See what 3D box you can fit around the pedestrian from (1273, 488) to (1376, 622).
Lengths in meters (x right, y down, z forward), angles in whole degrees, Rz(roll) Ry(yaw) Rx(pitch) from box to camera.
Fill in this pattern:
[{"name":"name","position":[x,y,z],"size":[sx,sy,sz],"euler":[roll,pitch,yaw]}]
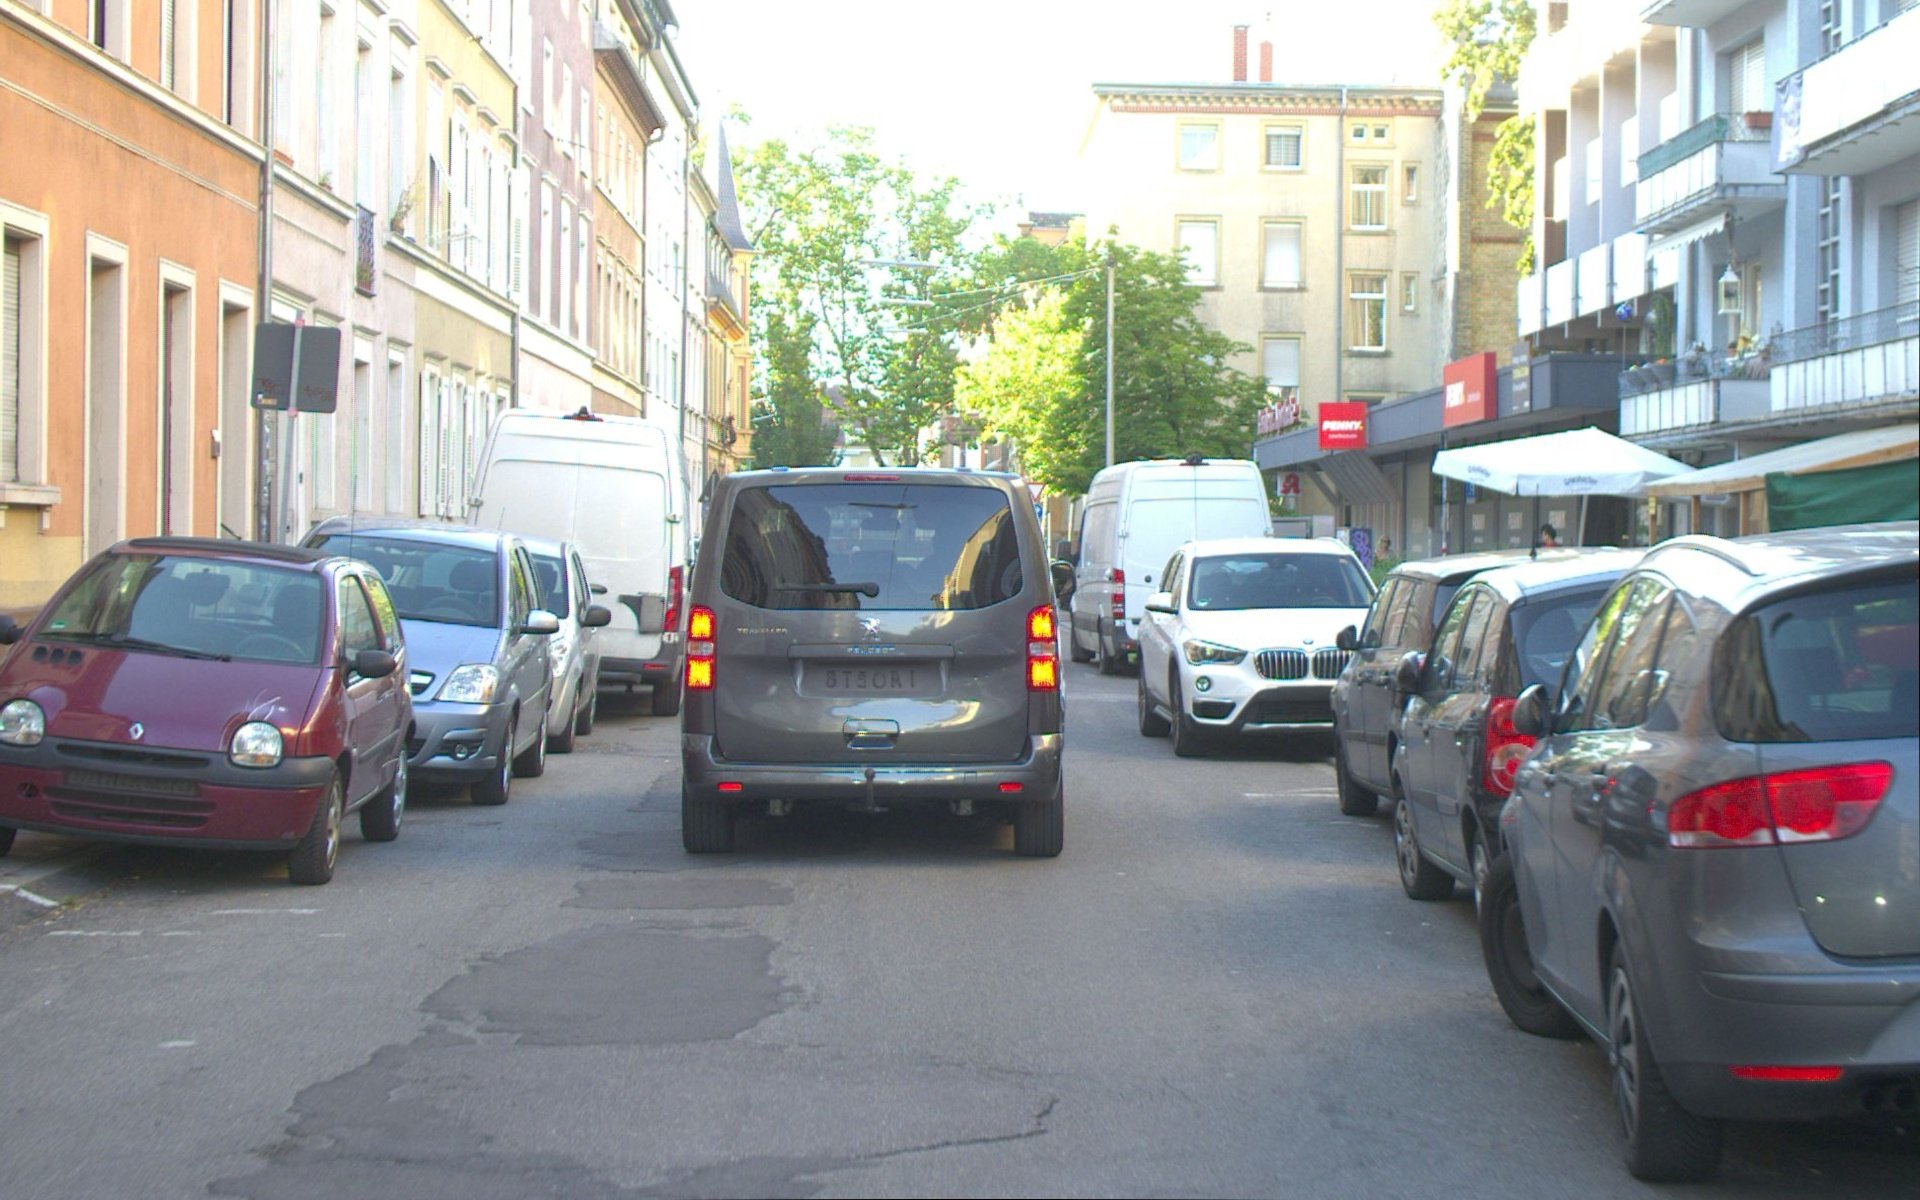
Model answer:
[{"name":"pedestrian","position":[4.326,-0.544,40.850],"size":[0.870,1.550,0.876],"euler":[-2,2,-22]}]

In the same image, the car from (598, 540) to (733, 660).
[{"name":"car","position":[-3.978,-0.036,46.494],"size":[1.710,1.492,3.856],"euler":[1,1,-5]}]

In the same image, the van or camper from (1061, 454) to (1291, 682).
[{"name":"van or camper","position":[2.580,-0.441,43.031],"size":[2.099,2.593,7.513],"euler":[0,1,-2]}]

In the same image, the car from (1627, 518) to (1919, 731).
[{"name":"car","position":[7.545,0.211,27.795],"size":[3.895,1.602,1.694],"euler":[2,1,-1]}]

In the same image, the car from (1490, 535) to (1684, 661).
[{"name":"car","position":[7.394,-0.053,40.360],"size":[1.602,1.411,3.225],"euler":[1,1,22]}]

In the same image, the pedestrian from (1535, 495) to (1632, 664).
[{"name":"pedestrian","position":[7.985,-0.270,44.055],"size":[0.872,2.137,0.956],"euler":[0,1,-17]}]

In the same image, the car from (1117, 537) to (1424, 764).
[{"name":"car","position":[2.332,0.326,26.954],"size":[1.722,1.606,4.589],"euler":[1,1,-3]}]

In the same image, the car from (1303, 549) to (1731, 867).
[{"name":"car","position":[2.917,0.495,18.789],"size":[1.620,1.481,4.125],"euler":[-1,1,0]}]

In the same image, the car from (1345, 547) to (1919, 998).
[{"name":"car","position":[2.634,0.591,14.140],"size":[1.622,1.552,3.694],"euler":[1,1,0]}]

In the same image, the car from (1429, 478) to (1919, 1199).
[{"name":"car","position":[2.482,0.550,9.712],"size":[1.749,1.677,4.525],"euler":[2,1,1]}]

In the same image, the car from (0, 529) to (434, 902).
[{"name":"car","position":[-3.523,0.449,15.980],"size":[1.657,1.443,3.286],"euler":[4,1,-2]}]

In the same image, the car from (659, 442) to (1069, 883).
[{"name":"car","position":[-0.490,0.239,17.903],"size":[1.857,2.007,4.001],"euler":[-1,1,-1]}]

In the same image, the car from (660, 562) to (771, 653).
[{"name":"car","position":[-4.183,0.103,58.933],"size":[1.788,1.393,4.468],"euler":[2,1,-4]}]

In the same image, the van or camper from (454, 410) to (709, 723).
[{"name":"van or camper","position":[-3.470,-0.356,32.762],"size":[1.949,2.640,7.142],"euler":[0,1,-3]}]

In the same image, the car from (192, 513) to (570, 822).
[{"name":"car","position":[-3.479,0.336,21.309],"size":[1.711,1.638,3.980],"euler":[3,1,-2]}]

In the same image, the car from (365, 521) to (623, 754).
[{"name":"car","position":[-3.601,0.235,27.080],"size":[1.590,1.680,3.653],"euler":[1,1,-1]}]
